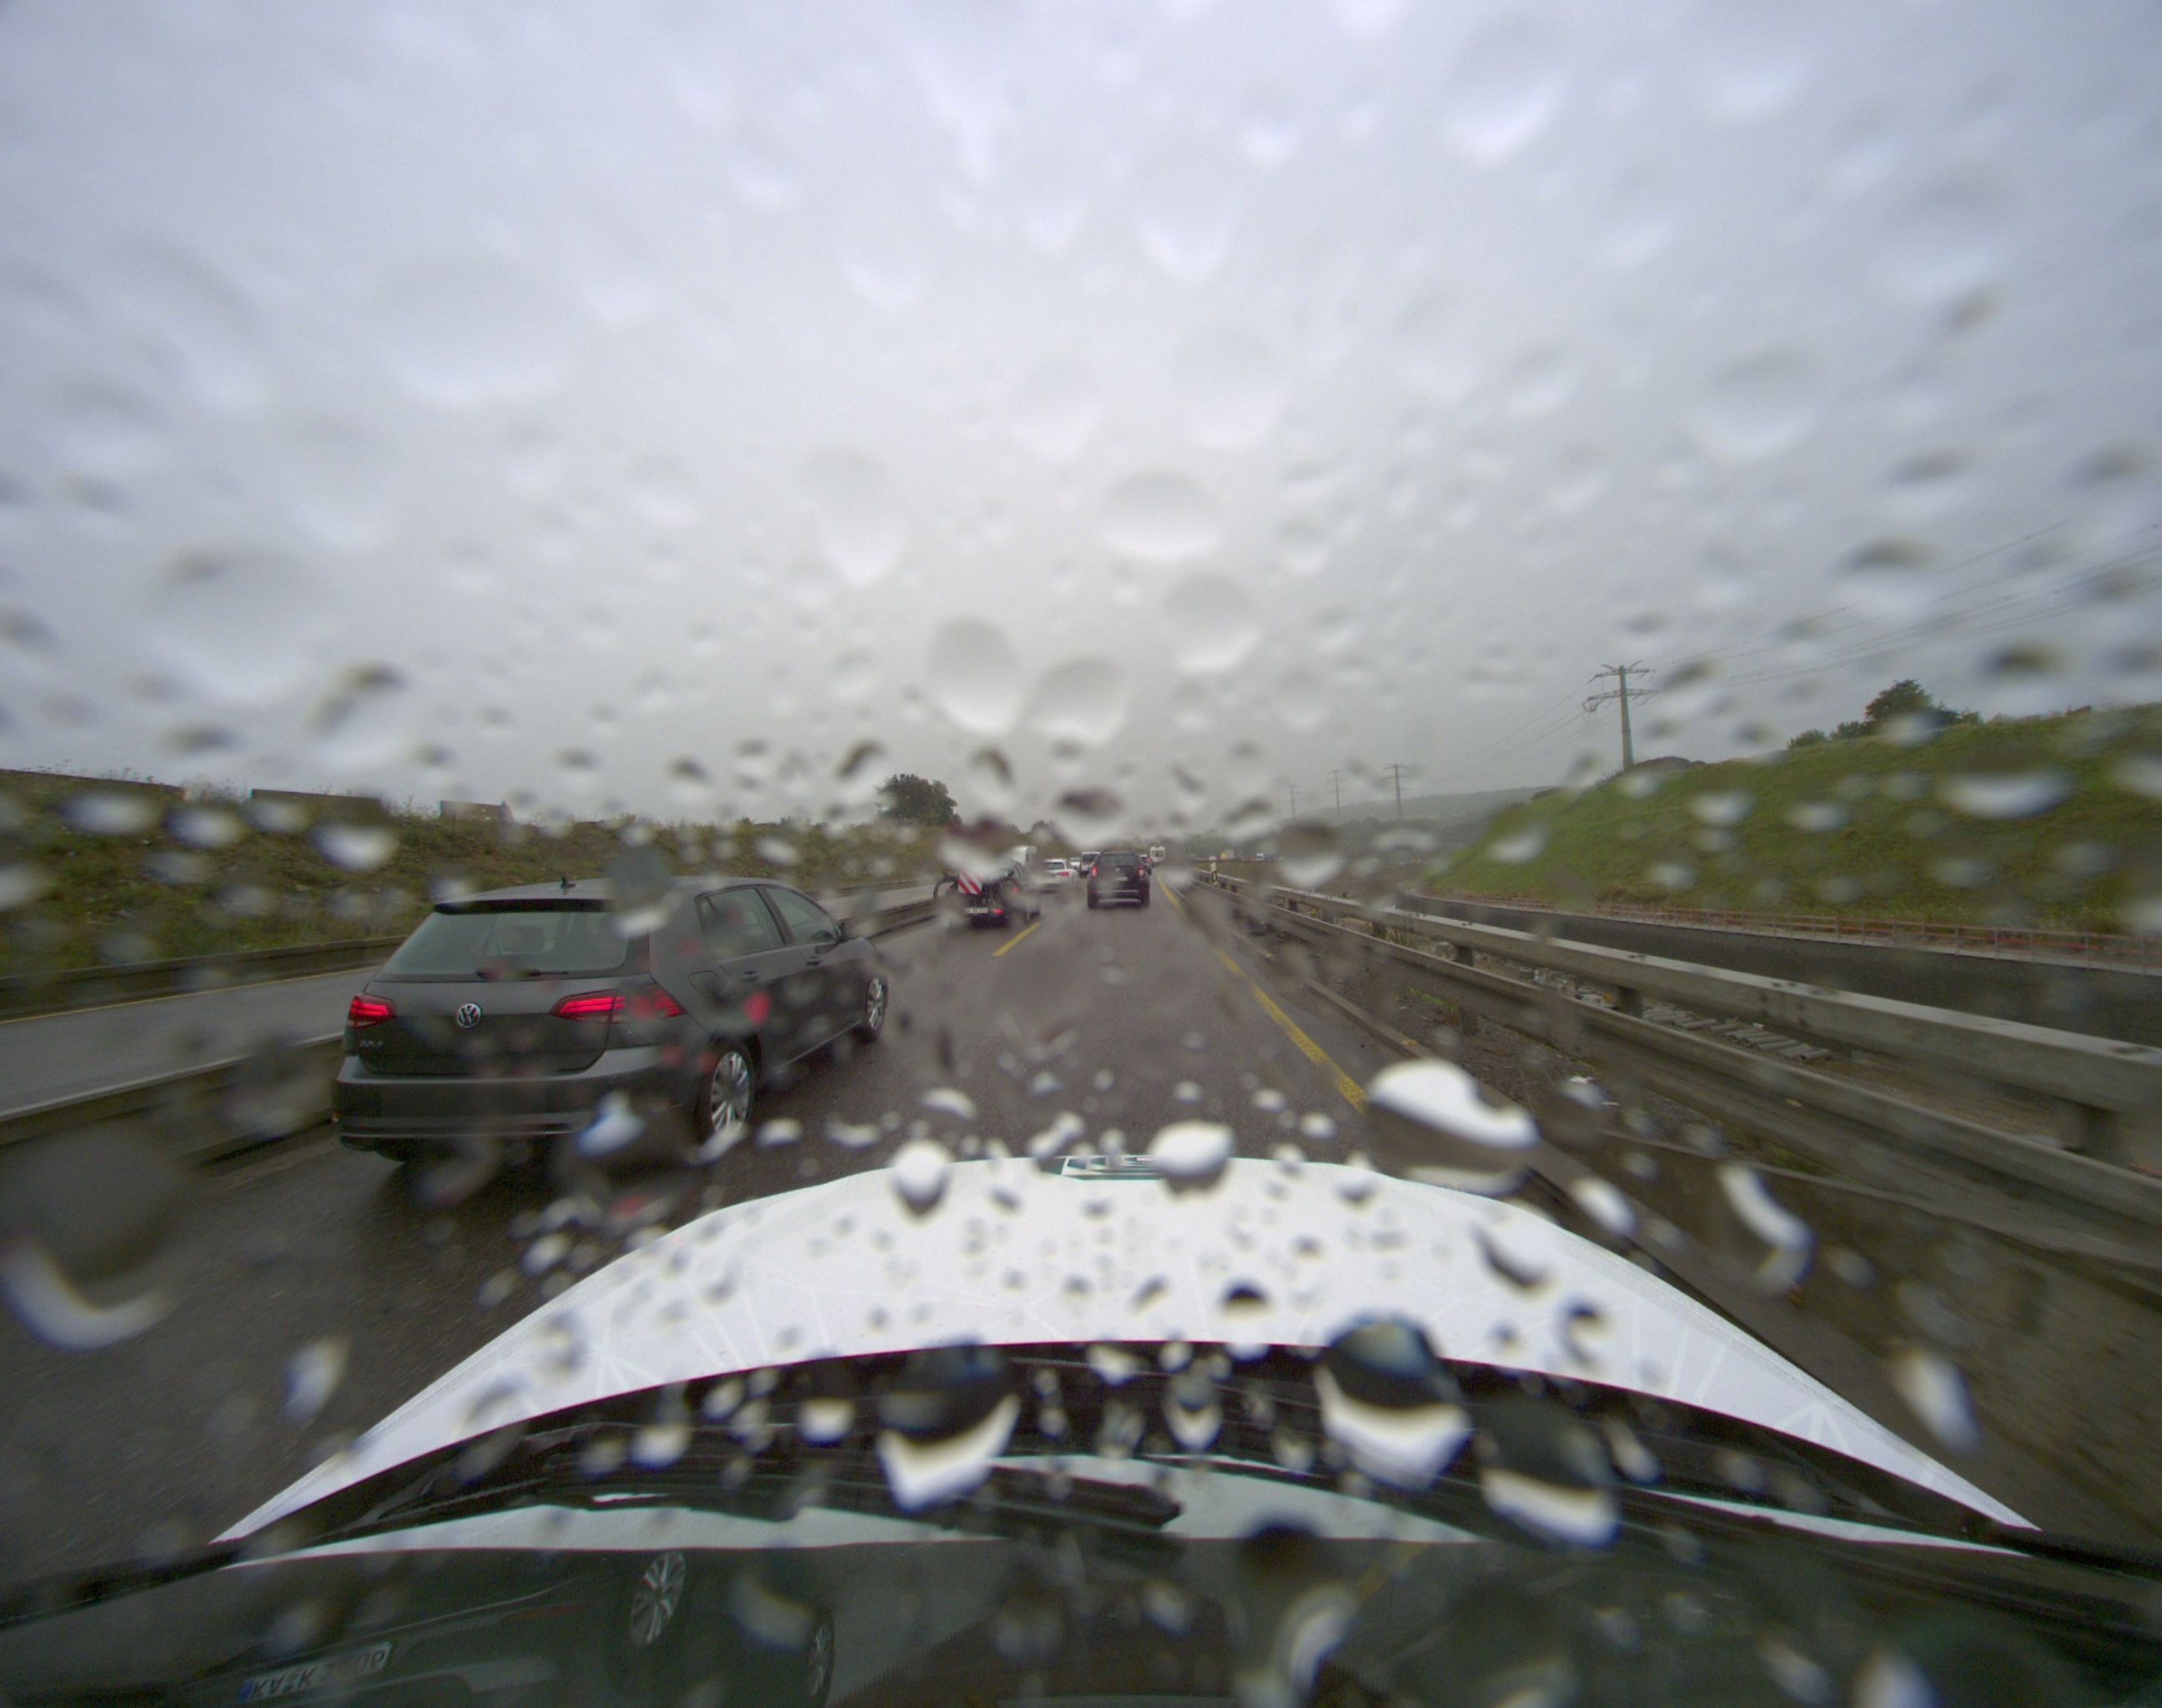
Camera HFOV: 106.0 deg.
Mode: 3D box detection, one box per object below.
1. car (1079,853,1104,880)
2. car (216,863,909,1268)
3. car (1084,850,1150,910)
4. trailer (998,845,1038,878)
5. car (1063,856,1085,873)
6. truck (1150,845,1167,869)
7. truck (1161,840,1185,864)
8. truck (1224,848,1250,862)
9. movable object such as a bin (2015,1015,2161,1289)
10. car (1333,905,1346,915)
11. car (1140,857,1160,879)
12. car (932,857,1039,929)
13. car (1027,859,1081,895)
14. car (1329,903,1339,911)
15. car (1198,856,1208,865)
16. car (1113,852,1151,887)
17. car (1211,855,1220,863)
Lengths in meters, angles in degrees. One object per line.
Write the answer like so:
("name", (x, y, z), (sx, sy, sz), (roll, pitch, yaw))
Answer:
("car", (0.781, 0.898, 59.255), (1.653, 1.880, 4.023), (0, 0, 3))
("car", (-2.516, 0.858, 5.391), (1.608, 1.506, 4.370), (-3, -1, 2))
("car", (1.134, 0.741, 24.426), (1.796, 1.646, 3.780), (-1, -1, 4))
("trailer", (-5.094, 0.561, 66.551), (2.501, 2.564, 7.165), (-1, 0, 1))
("car", (-0.696, 1.033, 82.310), (1.869, 1.500, 4.340), (-1, 1, 4))
("truck", (10.354, 0.406, 108.574), (2.139, 3.166, 6.468), (0, 0, 5))
("truck", (15.362, -0.323, 135.443), (3.179, 3.761, 8.537), (0, 0, 12))
("truck", (46.082, 0.279, 240.375), (4.677, 4.150, 15.763), (0, 0, 21))
("movable object such as a bin", (26.464, 6.789, 15.062), (4.871, 5.671, 12.101), (1, -3, 4))
("car", (59.636, 12.907, 188.096), (2.350, 2.014, 4.011), (0, 0, 10))
("car", (5.303, 1.087, 62.952), (1.524, 1.640, 4.016), (0, 0, 4))
("car", (-2.129, 0.854, 19.240), (1.821, 1.476, 3.780), (-1, -1, 4))
("car", (-1.122, 0.969, 35.800), (1.859, 1.460, 4.554), (0, 0, 4))
("car", (63.360, 13.354, 204.214), (1.980, 1.816, 4.013), (-1, -1, 12))
("car", (25.814, 1.302, 172.365), (1.762, 1.916, 4.015), (0, 0, 13))
("car", (2.659, 0.772, 42.584), (1.860, 1.708, 4.003), (-1, 0, 3))
("car", (31.899, 1.160, 193.047), (1.762, 1.916, 4.015), (0, 0, 13))
